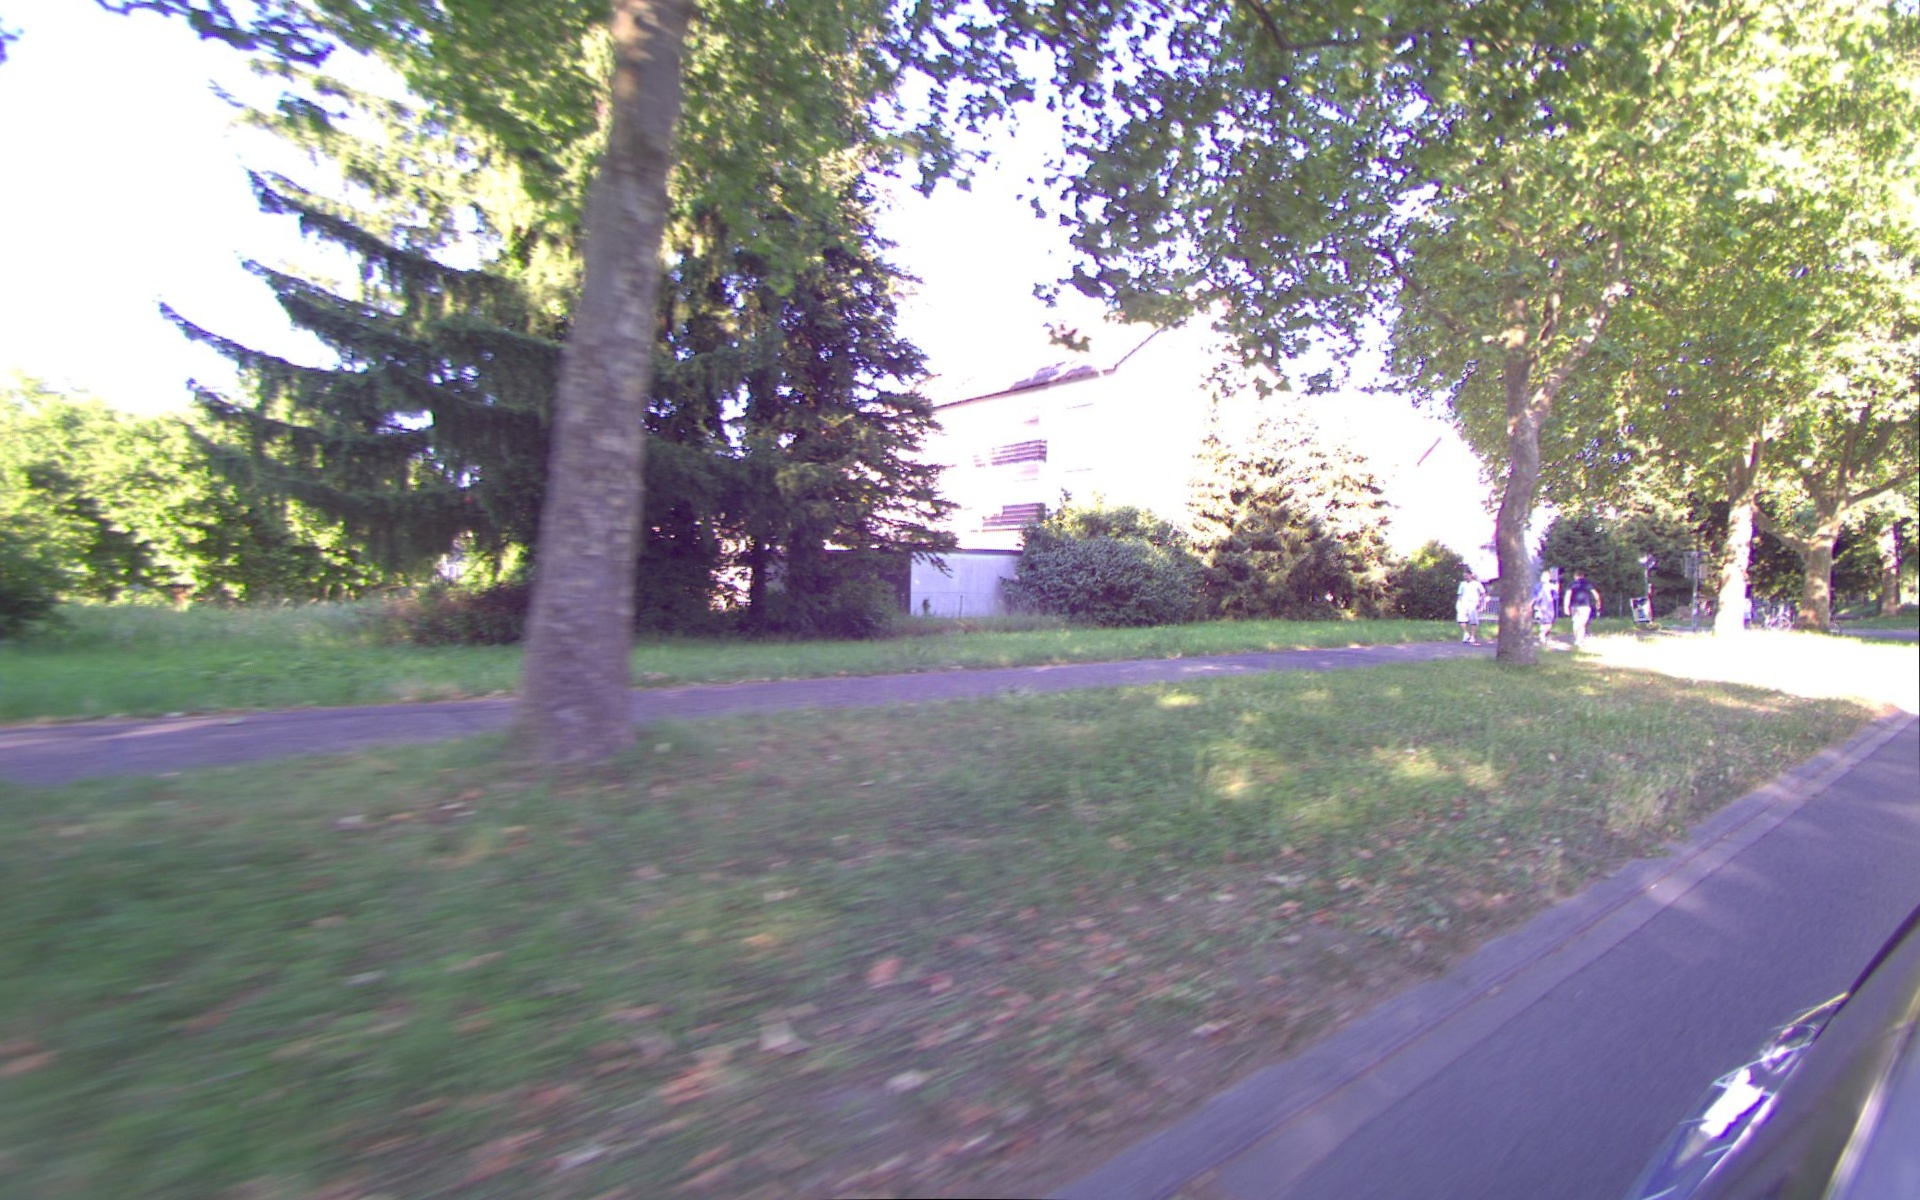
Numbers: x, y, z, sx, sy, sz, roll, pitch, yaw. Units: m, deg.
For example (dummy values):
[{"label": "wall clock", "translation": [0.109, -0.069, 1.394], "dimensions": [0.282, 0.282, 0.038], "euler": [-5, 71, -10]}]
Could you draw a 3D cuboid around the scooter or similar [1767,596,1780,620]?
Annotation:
[{"label": "scooter or similar", "translation": [41.283, 0.408, 51.349], "dimensions": [0.382, 1.211, 1.235], "euler": [0, 0, 44]}]

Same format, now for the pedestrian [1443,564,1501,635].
[{"label": "pedestrian", "translation": [12.279, -0.026, 24.296], "dimensions": [0.919, 1.670, 0.784], "euler": [1, 1, -20]}]

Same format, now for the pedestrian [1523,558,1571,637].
[{"label": "pedestrian", "translation": [14.241, -0.060, 24.541], "dimensions": [0.788, 1.870, 0.756], "euler": [0, 1, -39]}]

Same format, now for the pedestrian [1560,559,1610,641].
[{"label": "pedestrian", "translation": [14.713, -0.013, 23.821], "dimensions": [0.773, 1.869, 0.763], "euler": [0, 1, -39]}]

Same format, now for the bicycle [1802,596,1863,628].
[{"label": "bicycle", "translation": [30.887, 0.421, 35.836], "dimensions": [0.437, 1.048, 1.723], "euler": [3, 1, -8]}]

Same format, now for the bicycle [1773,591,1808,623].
[{"label": "bicycle", "translation": [29.521, 0.253, 35.993], "dimensions": [0.442, 1.096, 1.989], "euler": [3, 1, 26]}]
